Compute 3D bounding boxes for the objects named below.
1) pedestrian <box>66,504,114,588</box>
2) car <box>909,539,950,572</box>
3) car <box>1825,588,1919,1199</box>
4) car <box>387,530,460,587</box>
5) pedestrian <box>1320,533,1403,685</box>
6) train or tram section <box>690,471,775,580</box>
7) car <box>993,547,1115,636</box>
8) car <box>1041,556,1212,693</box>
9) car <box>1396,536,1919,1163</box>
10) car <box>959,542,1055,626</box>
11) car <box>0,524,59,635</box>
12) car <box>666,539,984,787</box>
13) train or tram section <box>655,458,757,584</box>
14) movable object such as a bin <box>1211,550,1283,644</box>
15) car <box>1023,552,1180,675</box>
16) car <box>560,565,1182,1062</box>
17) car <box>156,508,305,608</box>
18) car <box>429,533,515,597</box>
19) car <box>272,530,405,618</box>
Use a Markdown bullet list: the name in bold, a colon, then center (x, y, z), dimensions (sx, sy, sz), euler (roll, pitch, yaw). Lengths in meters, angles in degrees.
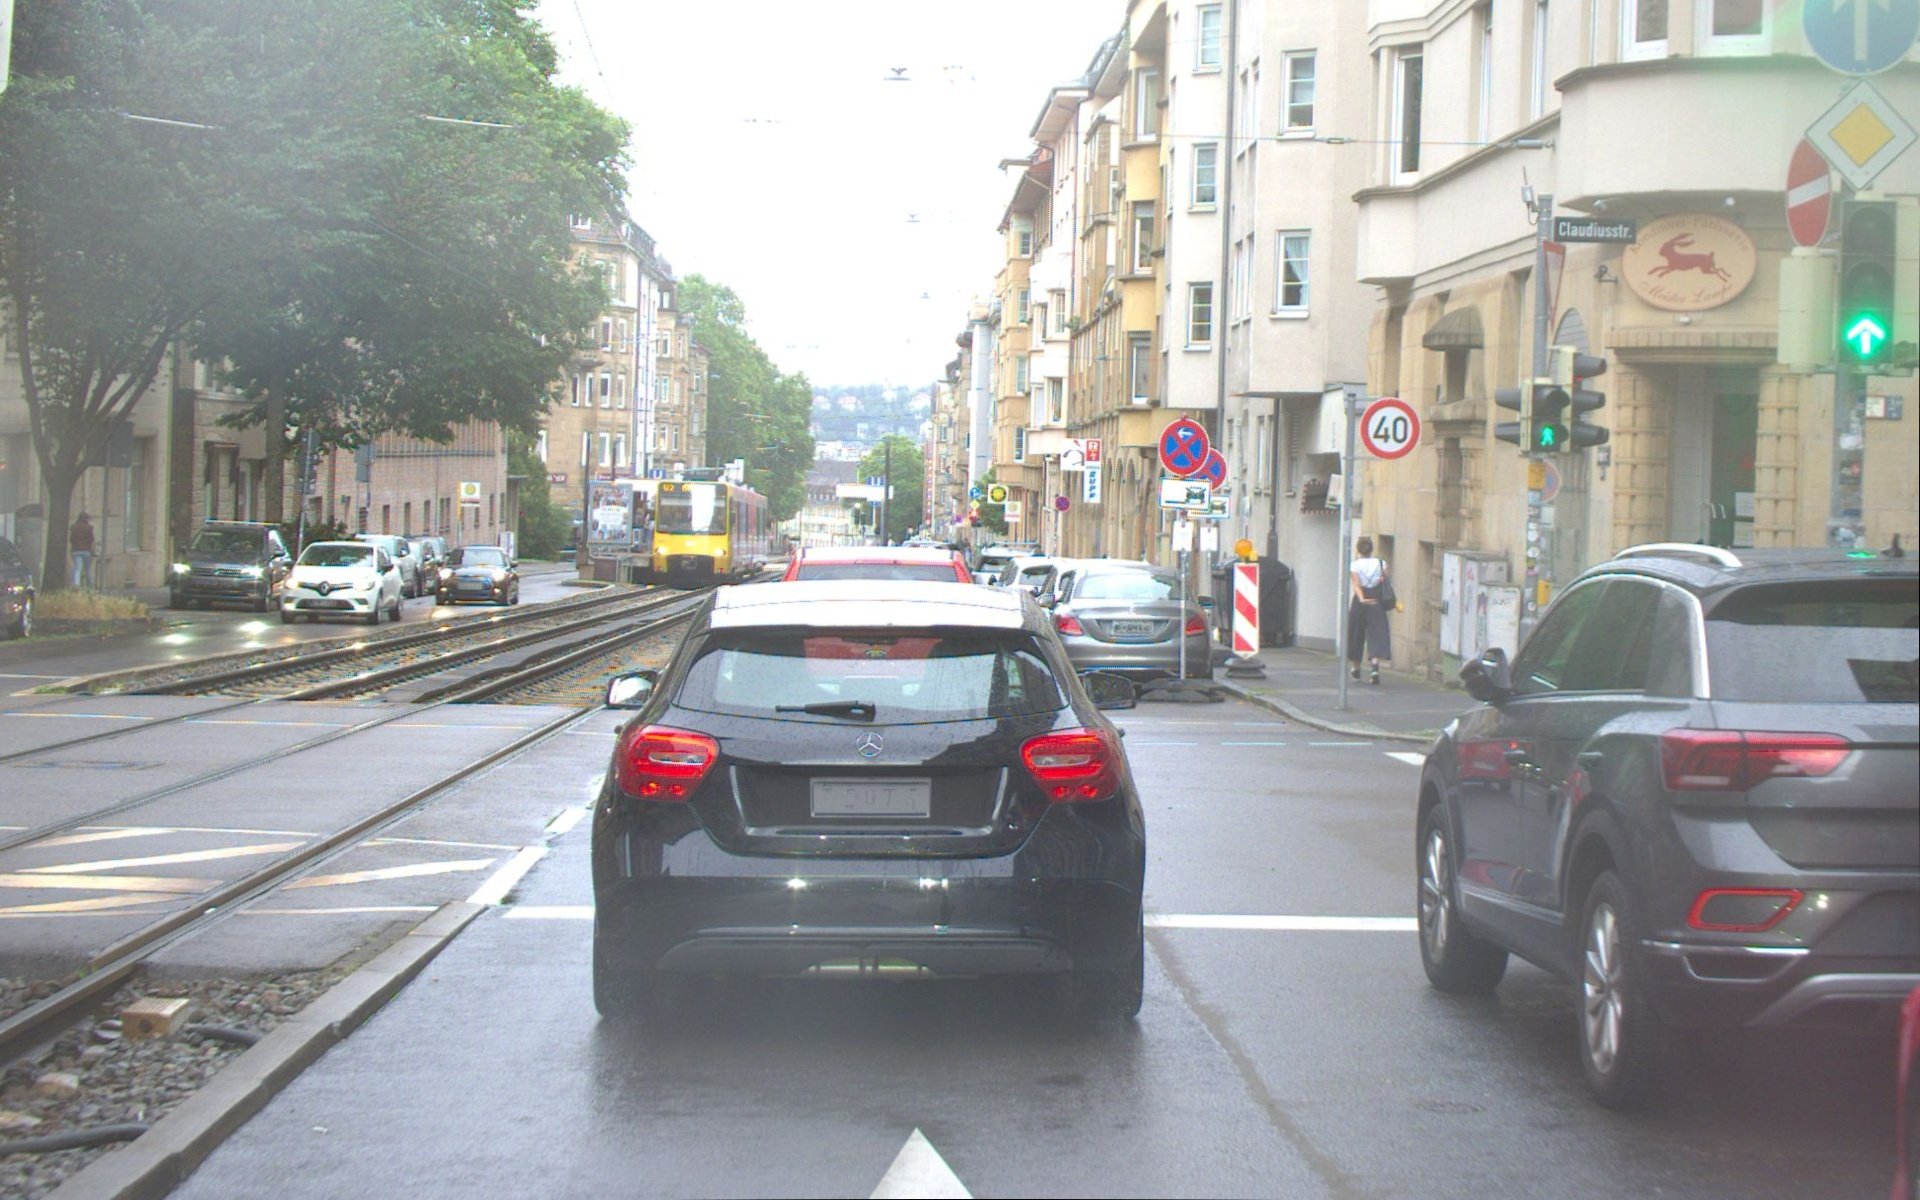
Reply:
- **pedestrian**: center (-17.335, -1.076, 68.516), dimensions (0.728, 1.657, 0.771), euler (2, 1, -1)
- **car**: center (-1.486, -2.172, 168.435), dimensions (1.887, 1.520, 4.245), euler (2, 1, 1)
- **car**: center (2.762, 0.752, 5.399), dimensions (1.705, 1.448, 3.533), euler (2, 1, -3)
- **car**: center (-14.498, -1.137, 93.062), dimensions (1.572, 1.462, 3.045), euler (2, 1, -2)
- **pedestrian**: center (4.546, 0.100, 38.940), dimensions (0.804, 1.681, 0.754), euler (1, 0, -1)
- **train or tram section**: center (-8.994, -2.937, 137.095), dimensions (2.745, 4.048, 15.663), euler (1, 1, -2)
- **car**: center (1.523, -0.145, 56.865), dimensions (1.789, 1.381, 4.395), euler (1, 0, -1)
- **car**: center (1.798, 0.254, 38.438), dimensions (1.711, 1.405, 4.817), euler (1, 0, 1)
- **car**: center (2.587, 0.624, 10.600), dimensions (1.867, 1.543, 3.991), euler (2, 1, -1)
- **car**: center (0.959, -0.326, 69.452), dimensions (1.841, 1.602, 4.760), euler (1, 0, 1)
- **car**: center (-13.521, -0.285, 46.027), dimensions (1.780, 1.455, 4.979), euler (1, 0, -2)
- **car**: center (-0.896, 0.381, 24.217), dimensions (1.993, 1.520, 4.246), euler (2, 1, -1)
- **train or tram section**: center (-8.787, -2.728, 120.767), dimensions (2.745, 4.048, 17.216), euler (1, 1, -2)
- **movable object such as a bin**: center (4.558, -0.050, 54.673), dimensions (0.980, 1.463, 1.273), euler (1, 0, -1)
- **car**: center (1.750, 0.154, 43.806), dimensions (1.712, 1.463, 4.774), euler (1, 0, -1)
- **car**: center (-0.294, 0.623, 12.273), dimensions (1.834, 1.448, 3.902), euler (1, 1, -1)
- **car**: center (-14.123, -0.842, 66.831), dimensions (1.953, 1.736, 4.779), euler (4, 1, -2)
- **car**: center (-11.512, -0.842, 81.302), dimensions (1.653, 1.458, 3.735), euler (0, 1, -2)
- **car**: center (-11.053, -0.455, 61.374), dimensions (1.780, 1.497, 4.063), euler (1, 0, -2)
